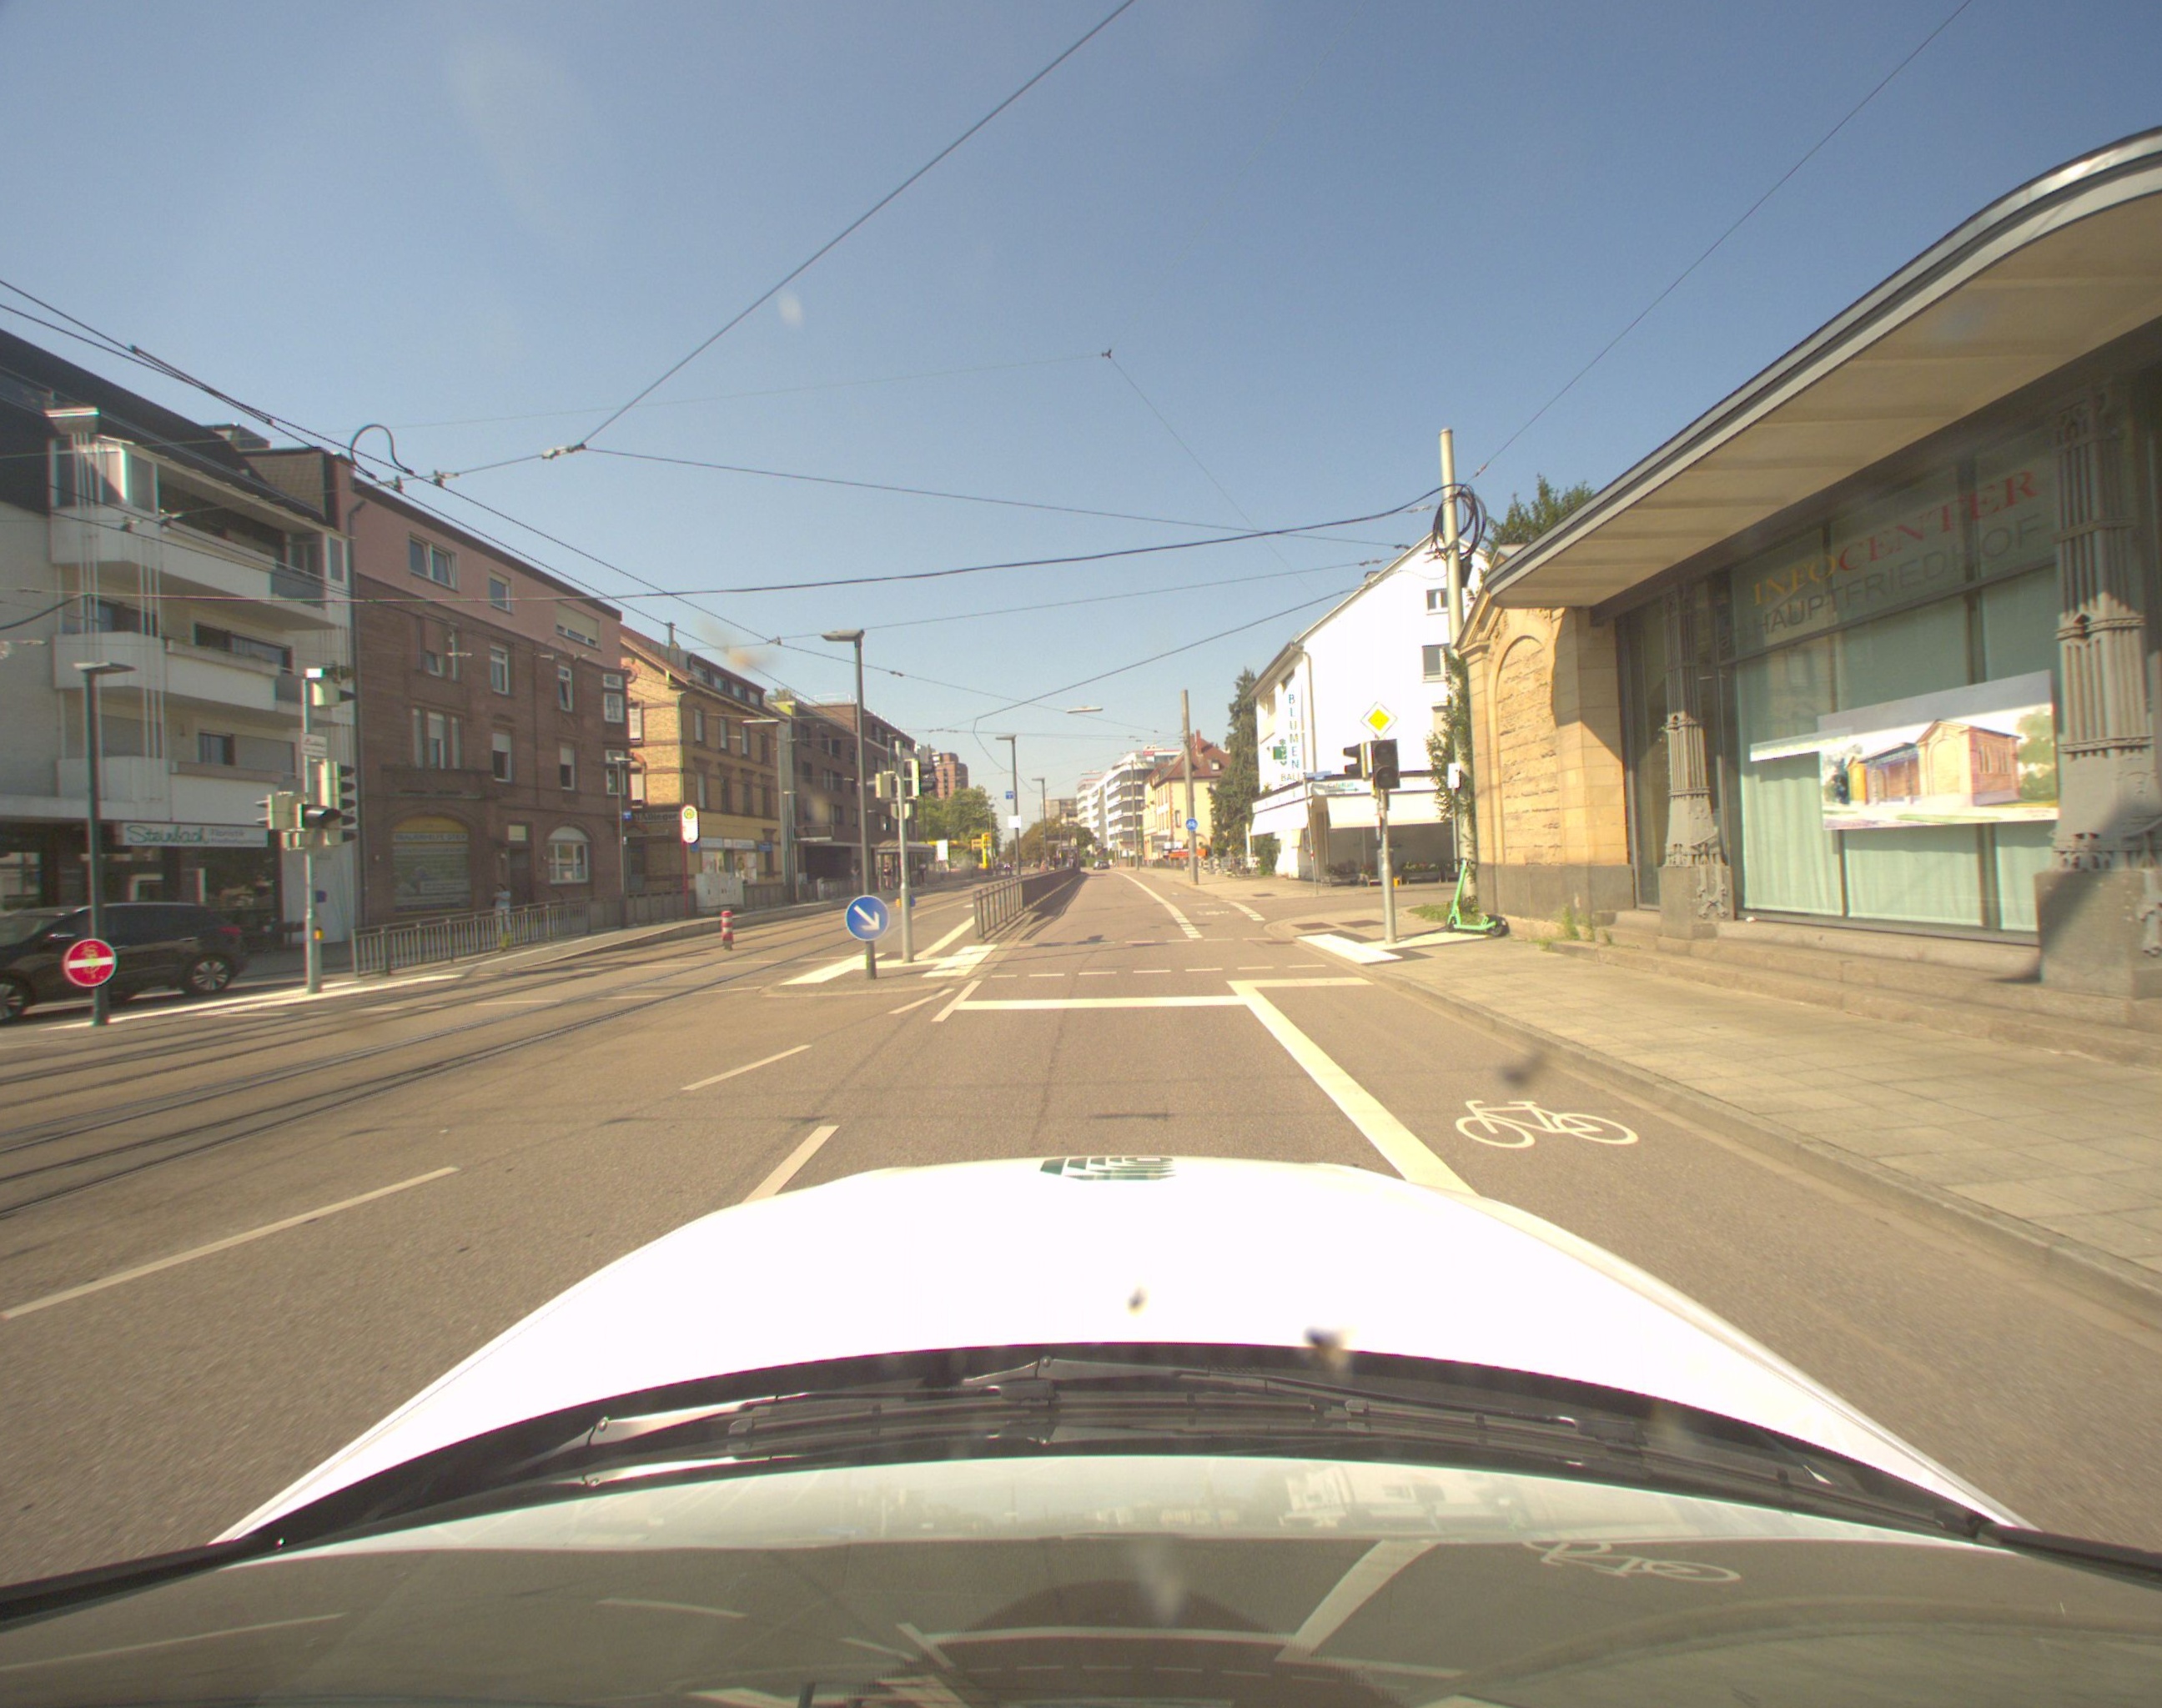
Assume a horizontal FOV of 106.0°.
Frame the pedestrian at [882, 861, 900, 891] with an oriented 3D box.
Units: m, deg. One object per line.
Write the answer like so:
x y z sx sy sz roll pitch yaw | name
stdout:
-11.458 1.343 49.082 0.705 1.747 0.799 -5 -1 2 | pedestrian

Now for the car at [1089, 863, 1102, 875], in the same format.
2.455 2.495 139.610 2.003 1.859 4.003 -5 -1 3 | car

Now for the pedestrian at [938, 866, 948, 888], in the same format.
-10.224 1.695 60.284 0.531 1.530 0.700 -4 -1 -5 | pedestrian

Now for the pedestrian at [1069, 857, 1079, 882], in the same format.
-0.510 1.084 57.942 0.535 1.703 0.581 -4 -1 -1 | pedestrian

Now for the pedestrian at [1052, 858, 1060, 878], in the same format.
-2.184 1.223 71.891 0.535 1.703 0.581 -4 -1 -1 | pedestrian

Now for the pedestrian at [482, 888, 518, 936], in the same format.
-19.459 1.938 27.292 0.479 1.560 0.890 -2 -2 12 | pedestrian

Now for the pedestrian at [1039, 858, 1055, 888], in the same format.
-2.029 1.130 48.488 0.717 1.703 0.884 -5 -1 2 | pedestrian

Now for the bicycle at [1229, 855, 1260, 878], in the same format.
8.614 0.668 43.098 0.730 1.132 2.834 -6 -1 -6 | bicycle

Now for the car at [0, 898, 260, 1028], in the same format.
-16.009 1.679 12.761 1.806 1.654 4.250 -4 -1 2 | car

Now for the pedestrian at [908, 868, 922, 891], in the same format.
-10.702 1.646 52.438 0.696 1.468 0.535 -5 -2 3 | pedestrian

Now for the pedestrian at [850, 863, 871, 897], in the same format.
-11.552 1.366 42.654 0.705 1.723 0.799 -5 -1 2 | pedestrian

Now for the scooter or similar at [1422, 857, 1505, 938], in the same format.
5.834 0.637 12.494 0.521 1.133 1.512 -5 -1 2 | scooter or similar

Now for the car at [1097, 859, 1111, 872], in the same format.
3.746 1.890 133.372 2.003 1.859 4.003 -5 -1 3 | car
